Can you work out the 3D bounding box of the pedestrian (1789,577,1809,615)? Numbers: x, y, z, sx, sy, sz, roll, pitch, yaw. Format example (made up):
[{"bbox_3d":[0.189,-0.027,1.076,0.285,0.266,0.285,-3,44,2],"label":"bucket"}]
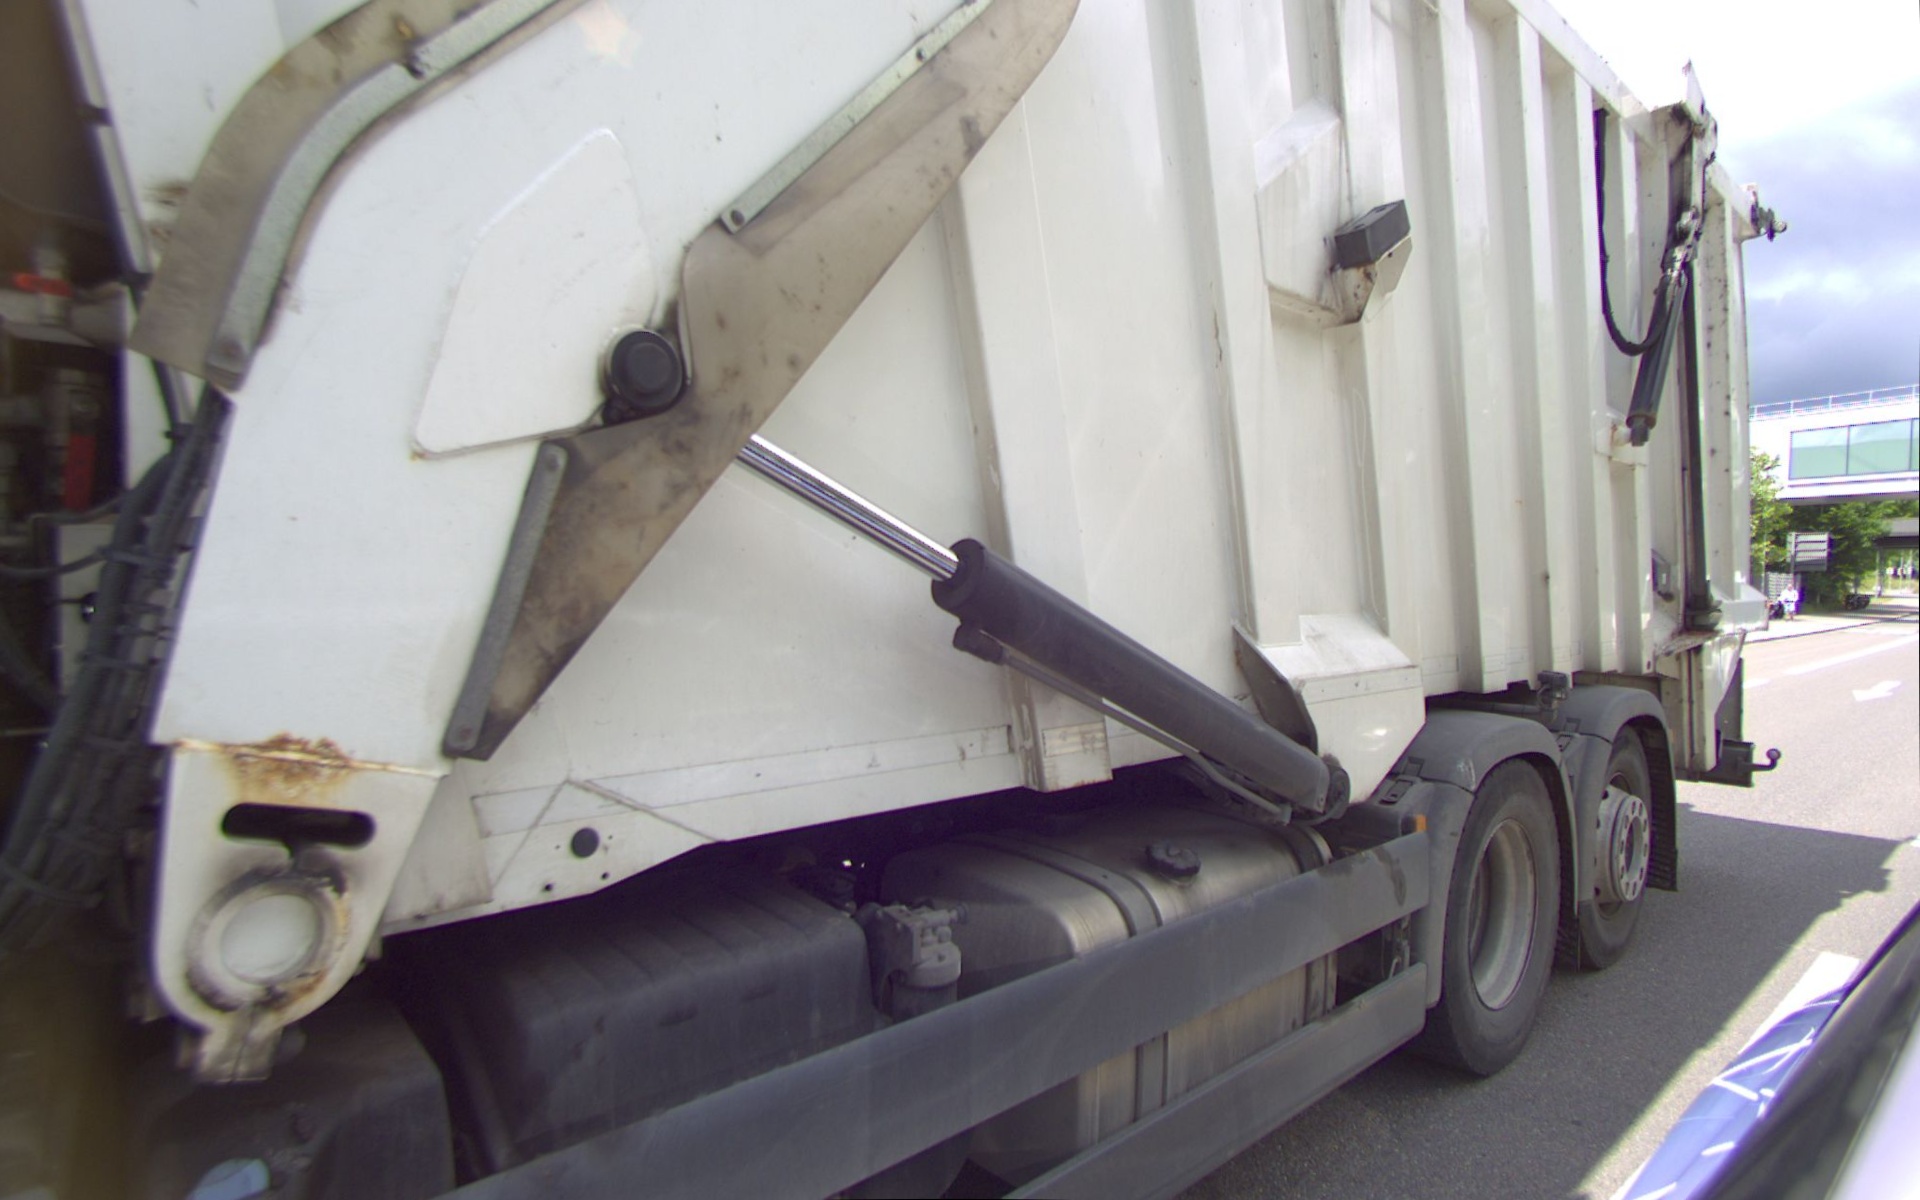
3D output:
[{"bbox_3d":[43.881,-0.203,52.930,0.647,1.936,0.738,0,0,-42],"label":"pedestrian"}]

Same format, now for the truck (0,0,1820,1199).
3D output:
[{"bbox_3d":[0.691,-0.646,3.752,9.999,3.962,2.492,-1,0,-42],"label":"truck"}]

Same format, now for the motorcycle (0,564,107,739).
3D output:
[{"bbox_3d":[-7.438,0.368,7.287,1.978,1.238,0.688,-1,3,-41],"label":"motorcycle"}]
